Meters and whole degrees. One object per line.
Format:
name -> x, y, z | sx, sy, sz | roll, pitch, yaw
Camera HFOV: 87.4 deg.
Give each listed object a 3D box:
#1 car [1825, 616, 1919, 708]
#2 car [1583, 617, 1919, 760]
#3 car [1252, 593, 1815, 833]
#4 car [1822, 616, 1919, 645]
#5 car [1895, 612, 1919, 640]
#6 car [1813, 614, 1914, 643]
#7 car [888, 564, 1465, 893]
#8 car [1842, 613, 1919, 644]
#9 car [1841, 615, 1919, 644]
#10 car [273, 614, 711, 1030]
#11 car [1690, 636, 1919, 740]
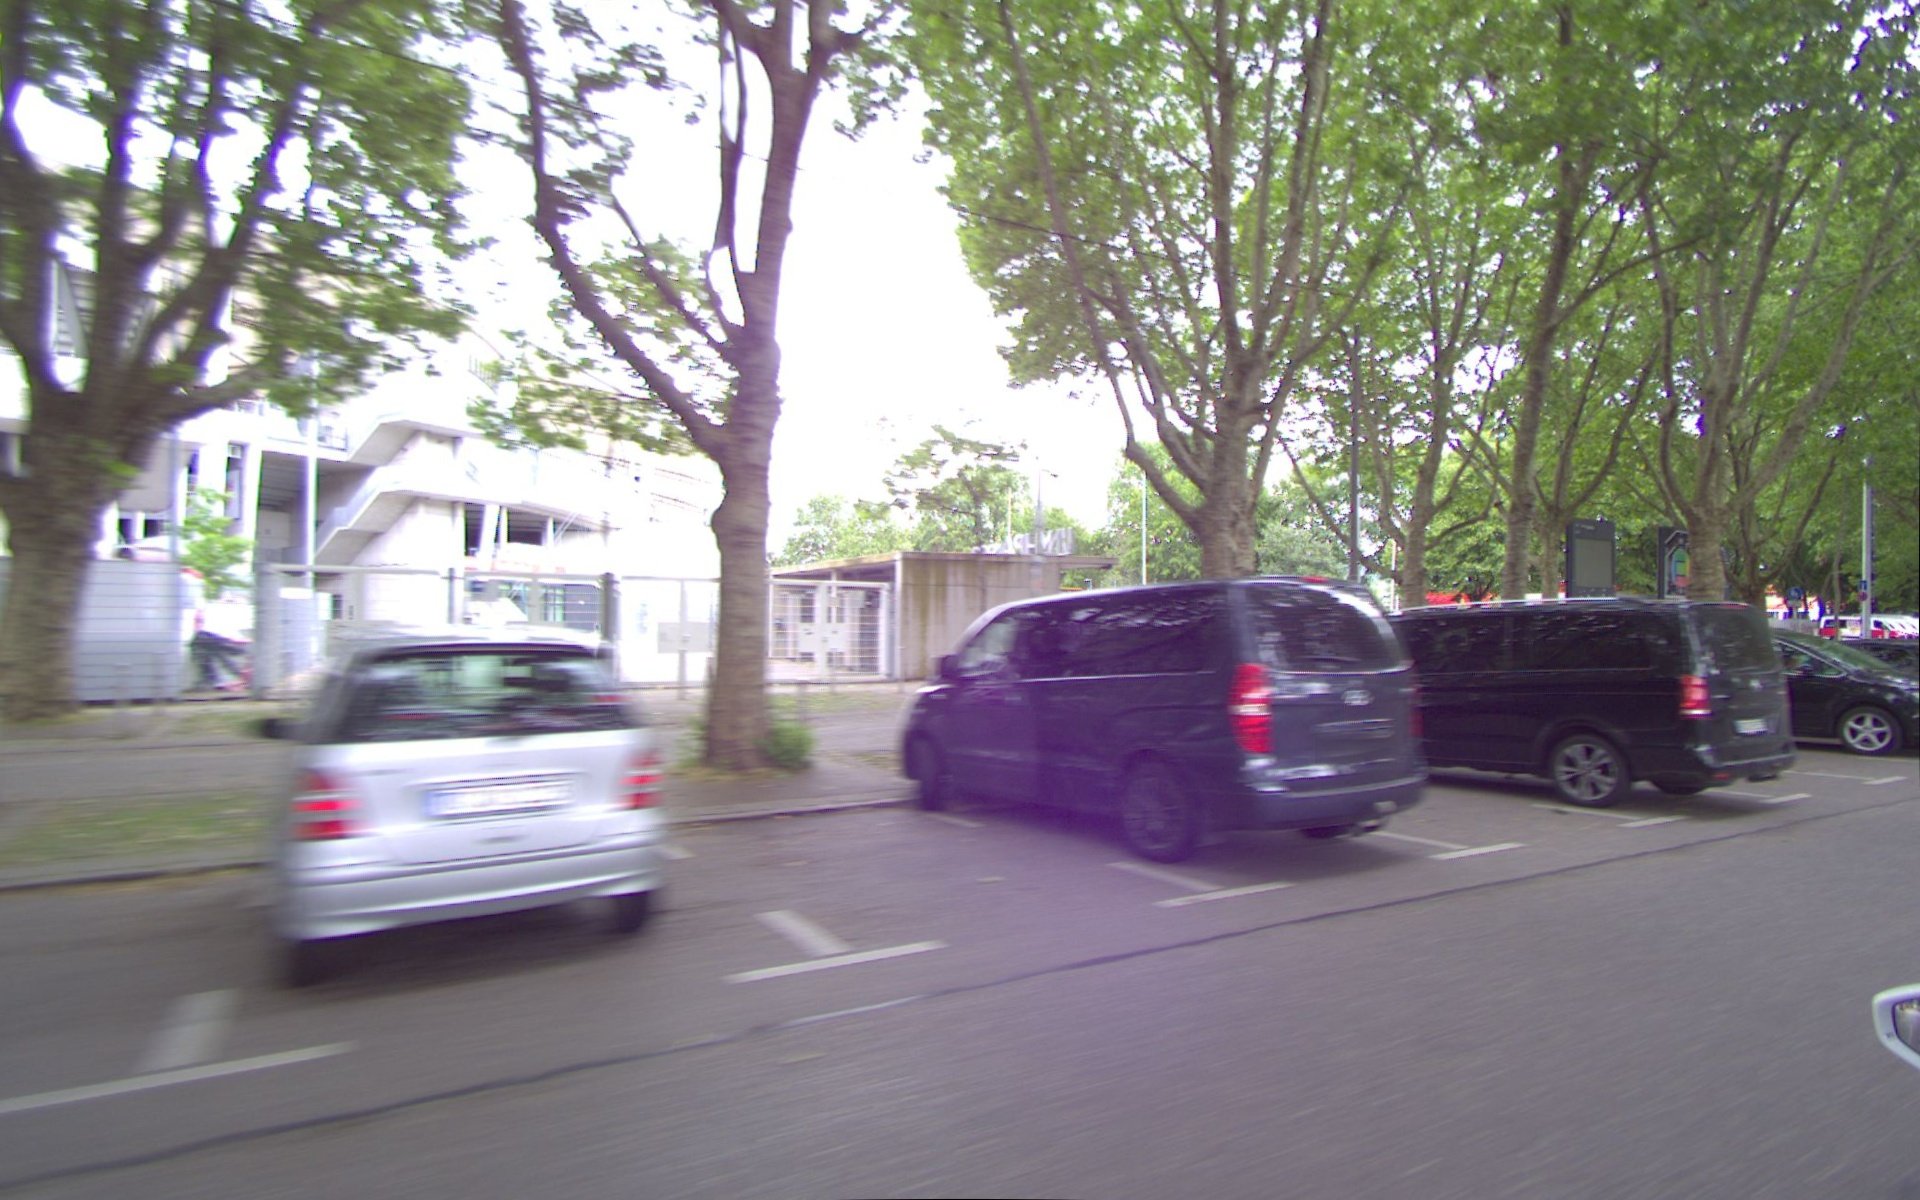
car -> 20.322, 1.259, 19.863 | 1.789, 1.844, 4.622 | 3, -3, -36
car -> 12.037, 1.215, 14.783 | 1.775, 1.805, 4.562 | 0, -3, -28
car -> 5.760, 1.034, 10.887 | 2.181, 1.949, 4.885 | 1, -3, -29
car -> 77.047, 2.562, 84.958 | 1.976, 2.282, 5.973 | 1, 0, -30
car -> 91.736, 2.480, 93.905 | 1.976, 2.560, 5.973 | 1, 0, -30
car -> 75.021, 2.330, 83.508 | 1.976, 2.282, 5.973 | 1, 0, -30
car -> 1.426, 0.866, 8.511 | 1.997, 1.949, 4.733 | 1, -3, -34
car -> 81.456, 2.497, 88.046 | 1.976, 2.560, 5.973 | 1, 0, -30
car -> 79.616, 2.528, 86.035 | 1.976, 2.349, 5.973 | 1, 0, -30
car -> -3.058, 0.971, 6.065 | 1.740, 1.589, 4.080 | 1, -4, -34
car -> 14.135, 1.353, 15.925 | 1.741, 1.513, 3.862 | 2, -4, -42
